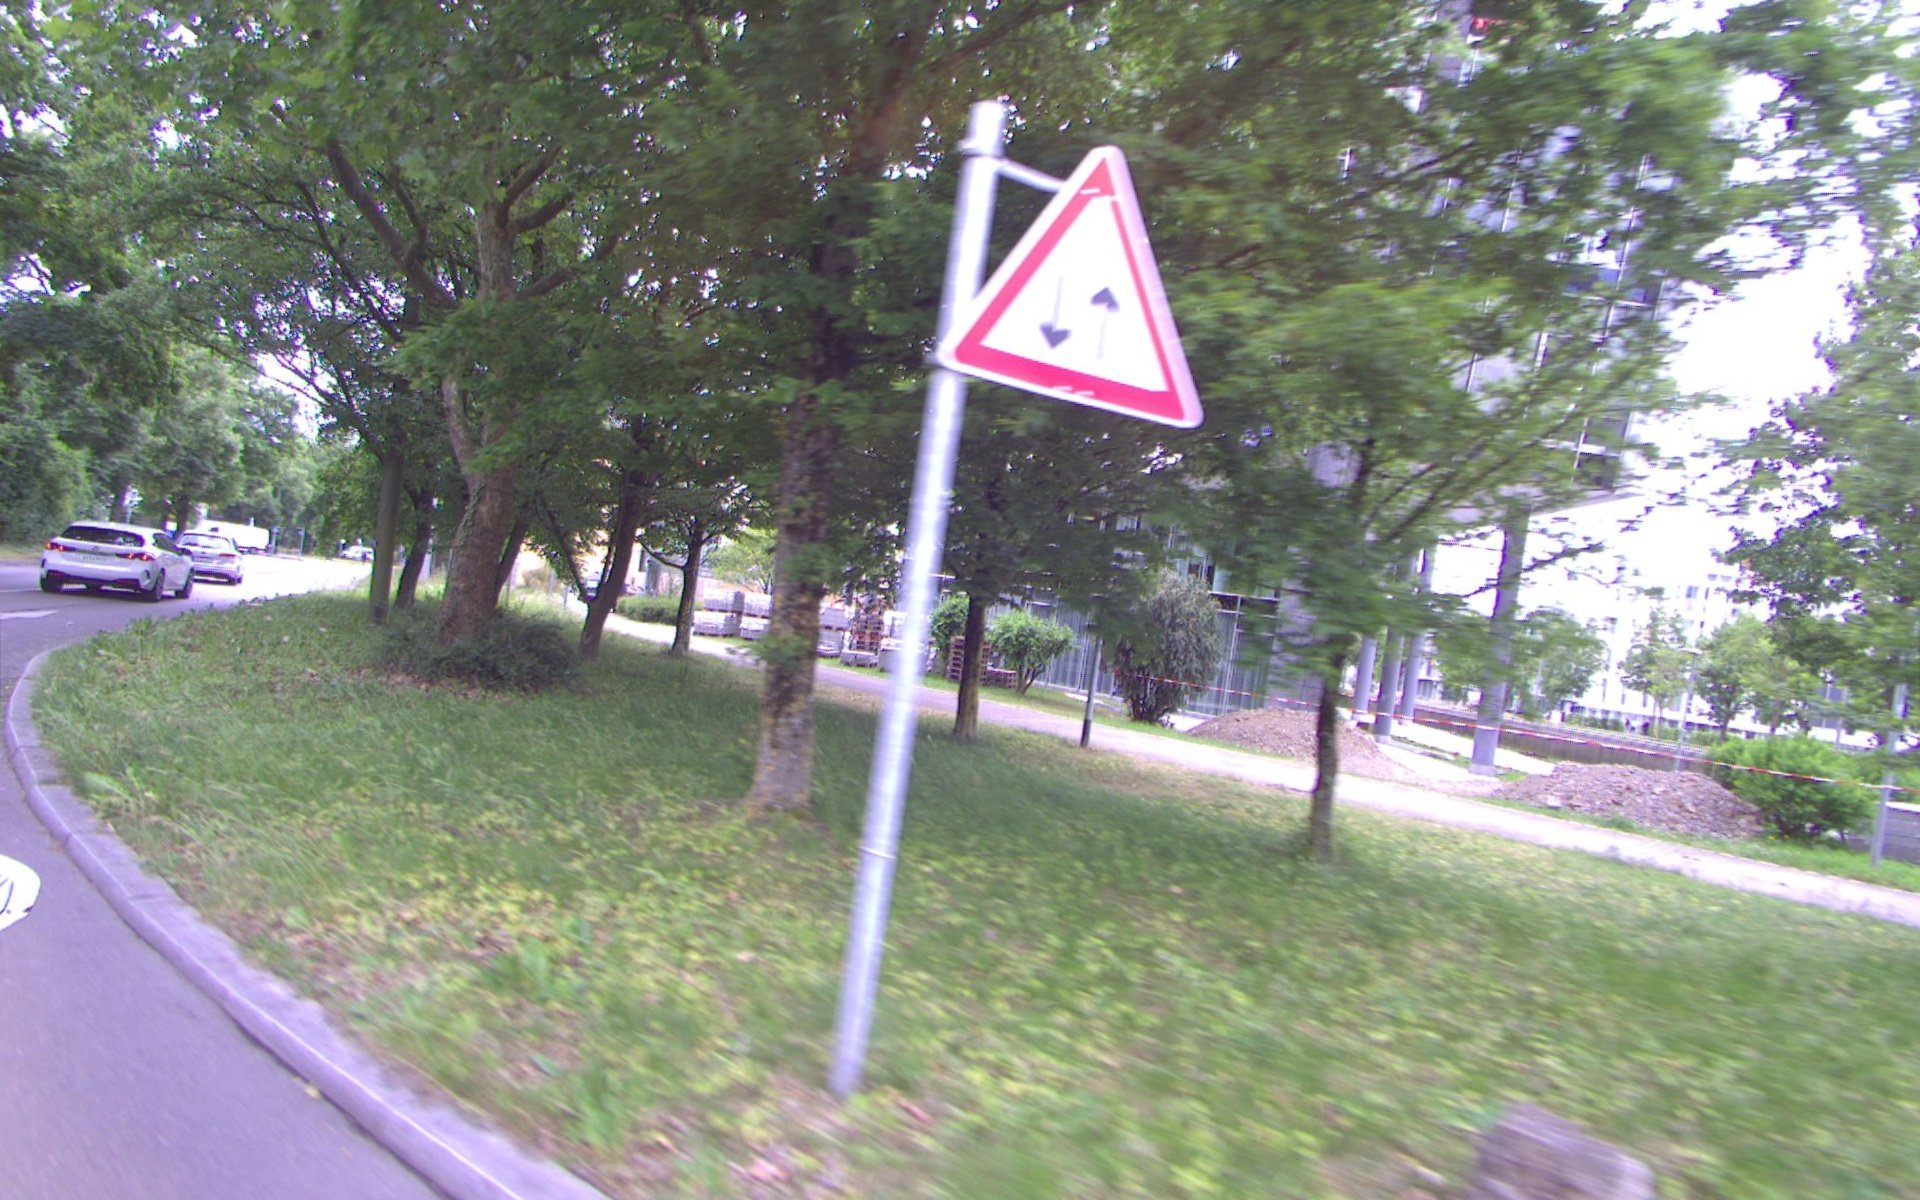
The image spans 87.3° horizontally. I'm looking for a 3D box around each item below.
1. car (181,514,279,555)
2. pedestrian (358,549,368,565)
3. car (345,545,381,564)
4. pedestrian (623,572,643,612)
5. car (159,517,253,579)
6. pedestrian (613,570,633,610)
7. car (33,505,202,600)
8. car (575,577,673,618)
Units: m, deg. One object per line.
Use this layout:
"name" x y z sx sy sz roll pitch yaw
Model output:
"car" -68.047 -6.066 93.963 2.048 2.550 6.982 9 -2 26
"pedestrian" -72.530 -5.233 122.223 0.916 1.898 1.010 3 4 -31
"car" -104.675 -7.900 176.470 2.097 2.322 5.395 9 -2 12
"pedestrian" -15.160 -0.373 46.628 0.528 1.749 0.496 9 4 33
"car" -23.834 -1.644 31.928 1.911 1.592 3.966 8 -2 -33
"pedestrian" -15.423 -0.459 46.030 0.575 1.778 0.473 9 4 33
"car" -17.227 -0.932 20.803 1.782 1.535 4.177 8 -2 -29
"car" -15.981 -0.063 48.163 1.836 1.535 4.744 5 -1 19
